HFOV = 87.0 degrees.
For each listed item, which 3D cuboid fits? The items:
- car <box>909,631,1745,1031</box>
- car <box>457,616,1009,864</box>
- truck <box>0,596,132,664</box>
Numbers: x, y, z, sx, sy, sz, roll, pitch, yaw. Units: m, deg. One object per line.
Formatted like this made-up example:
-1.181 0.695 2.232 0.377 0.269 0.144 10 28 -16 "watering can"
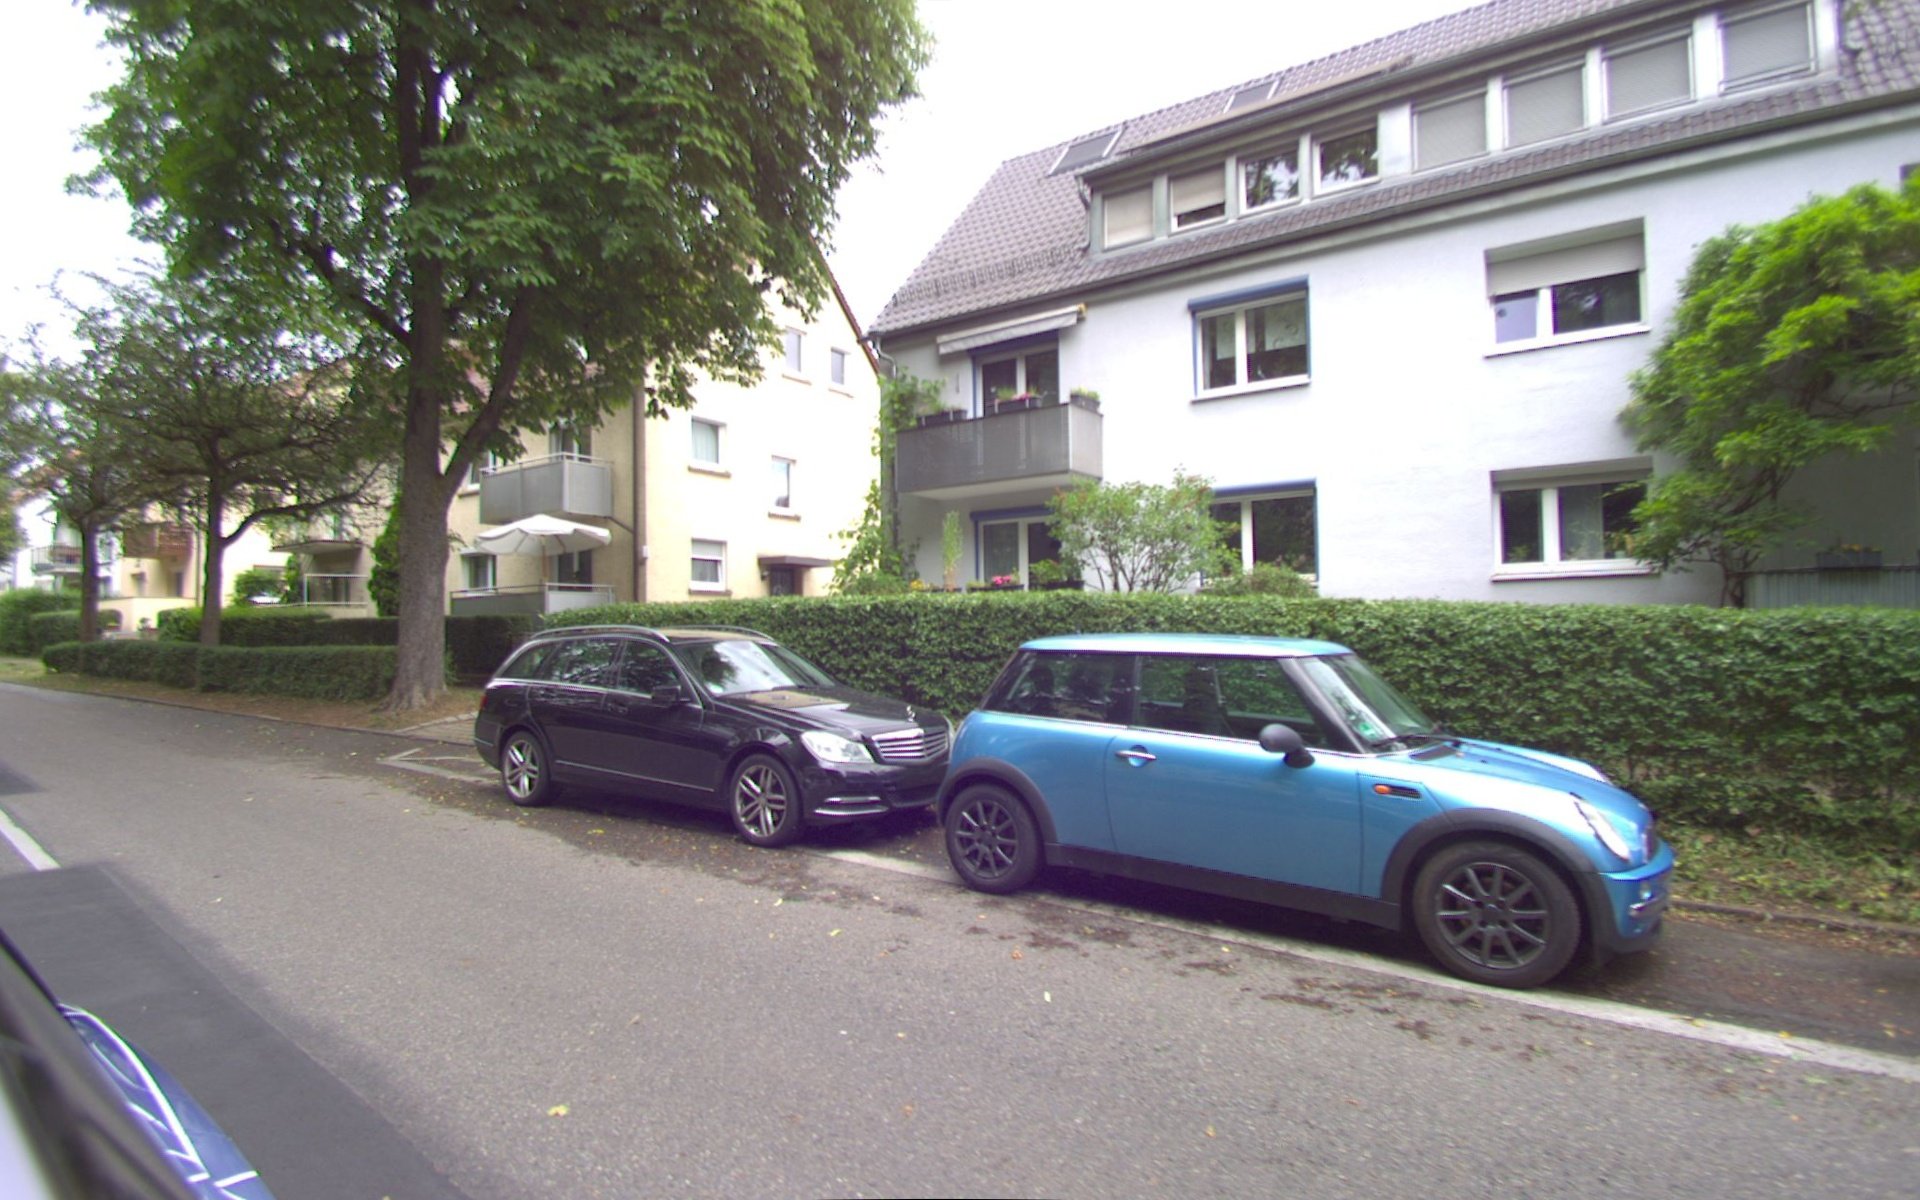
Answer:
1.698 0.882 5.319 3.697 1.402 1.650 -1 -3 35 "car"
-1.942 0.916 8.069 4.407 1.483 1.779 -1 -3 35 "car"
-44.126 1.455 48.979 2.511 3.155 5.749 -2 -2 33 "truck"
